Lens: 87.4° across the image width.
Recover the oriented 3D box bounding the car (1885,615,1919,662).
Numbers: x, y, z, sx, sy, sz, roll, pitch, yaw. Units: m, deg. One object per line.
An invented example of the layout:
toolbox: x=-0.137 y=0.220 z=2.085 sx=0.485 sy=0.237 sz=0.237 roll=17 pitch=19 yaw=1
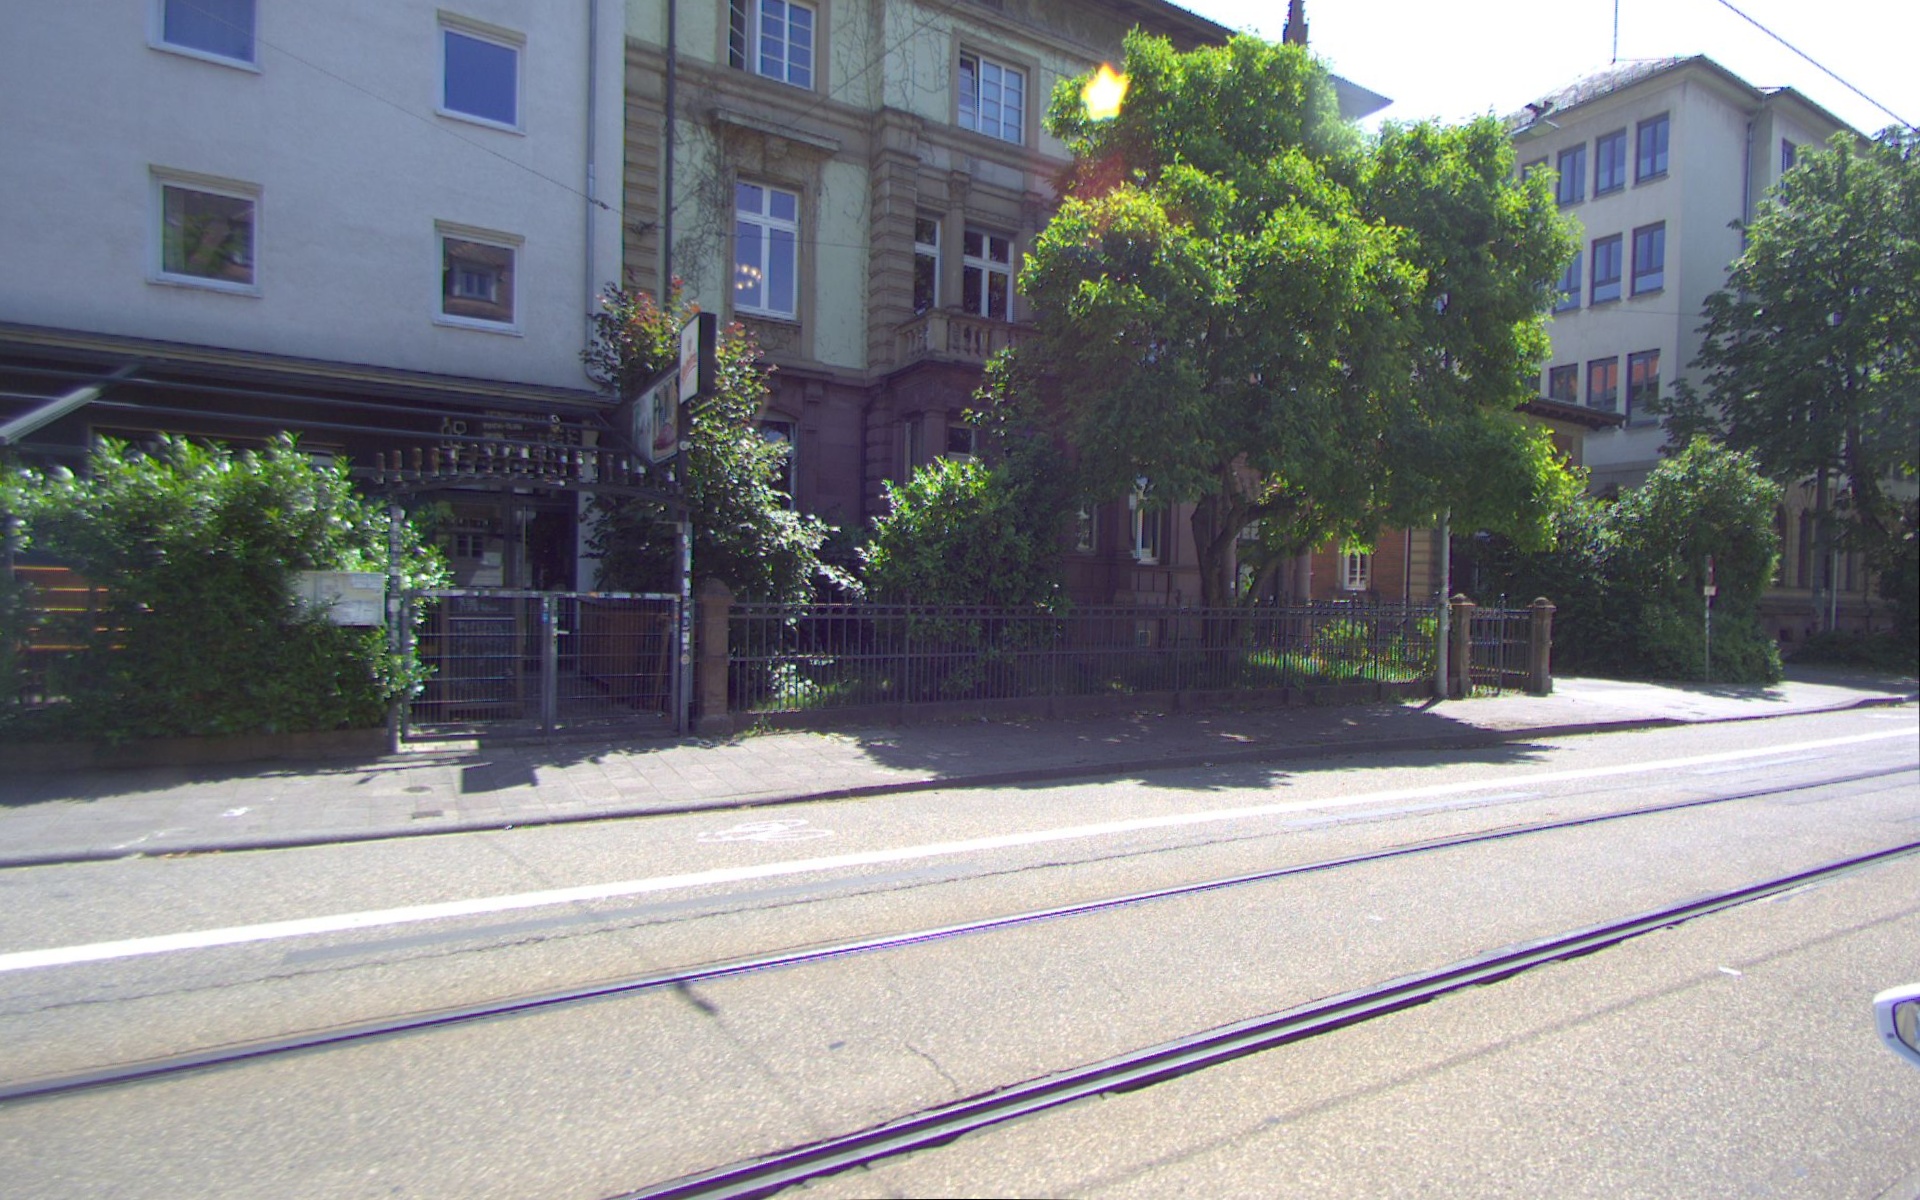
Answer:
car: x=35.174 y=1.379 z=35.183 sx=3.751 sy=1.598 sz=1.790 roll=1 pitch=0 yaw=31

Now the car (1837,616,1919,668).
car: x=30.221 y=1.348 z=31.918 sx=3.296 sy=1.536 sz=1.664 roll=2 pitch=1 yaw=35

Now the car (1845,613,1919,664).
car: x=32.713 y=1.337 z=33.691 sx=4.246 sy=1.606 sz=1.666 roll=3 pitch=1 yaw=31
